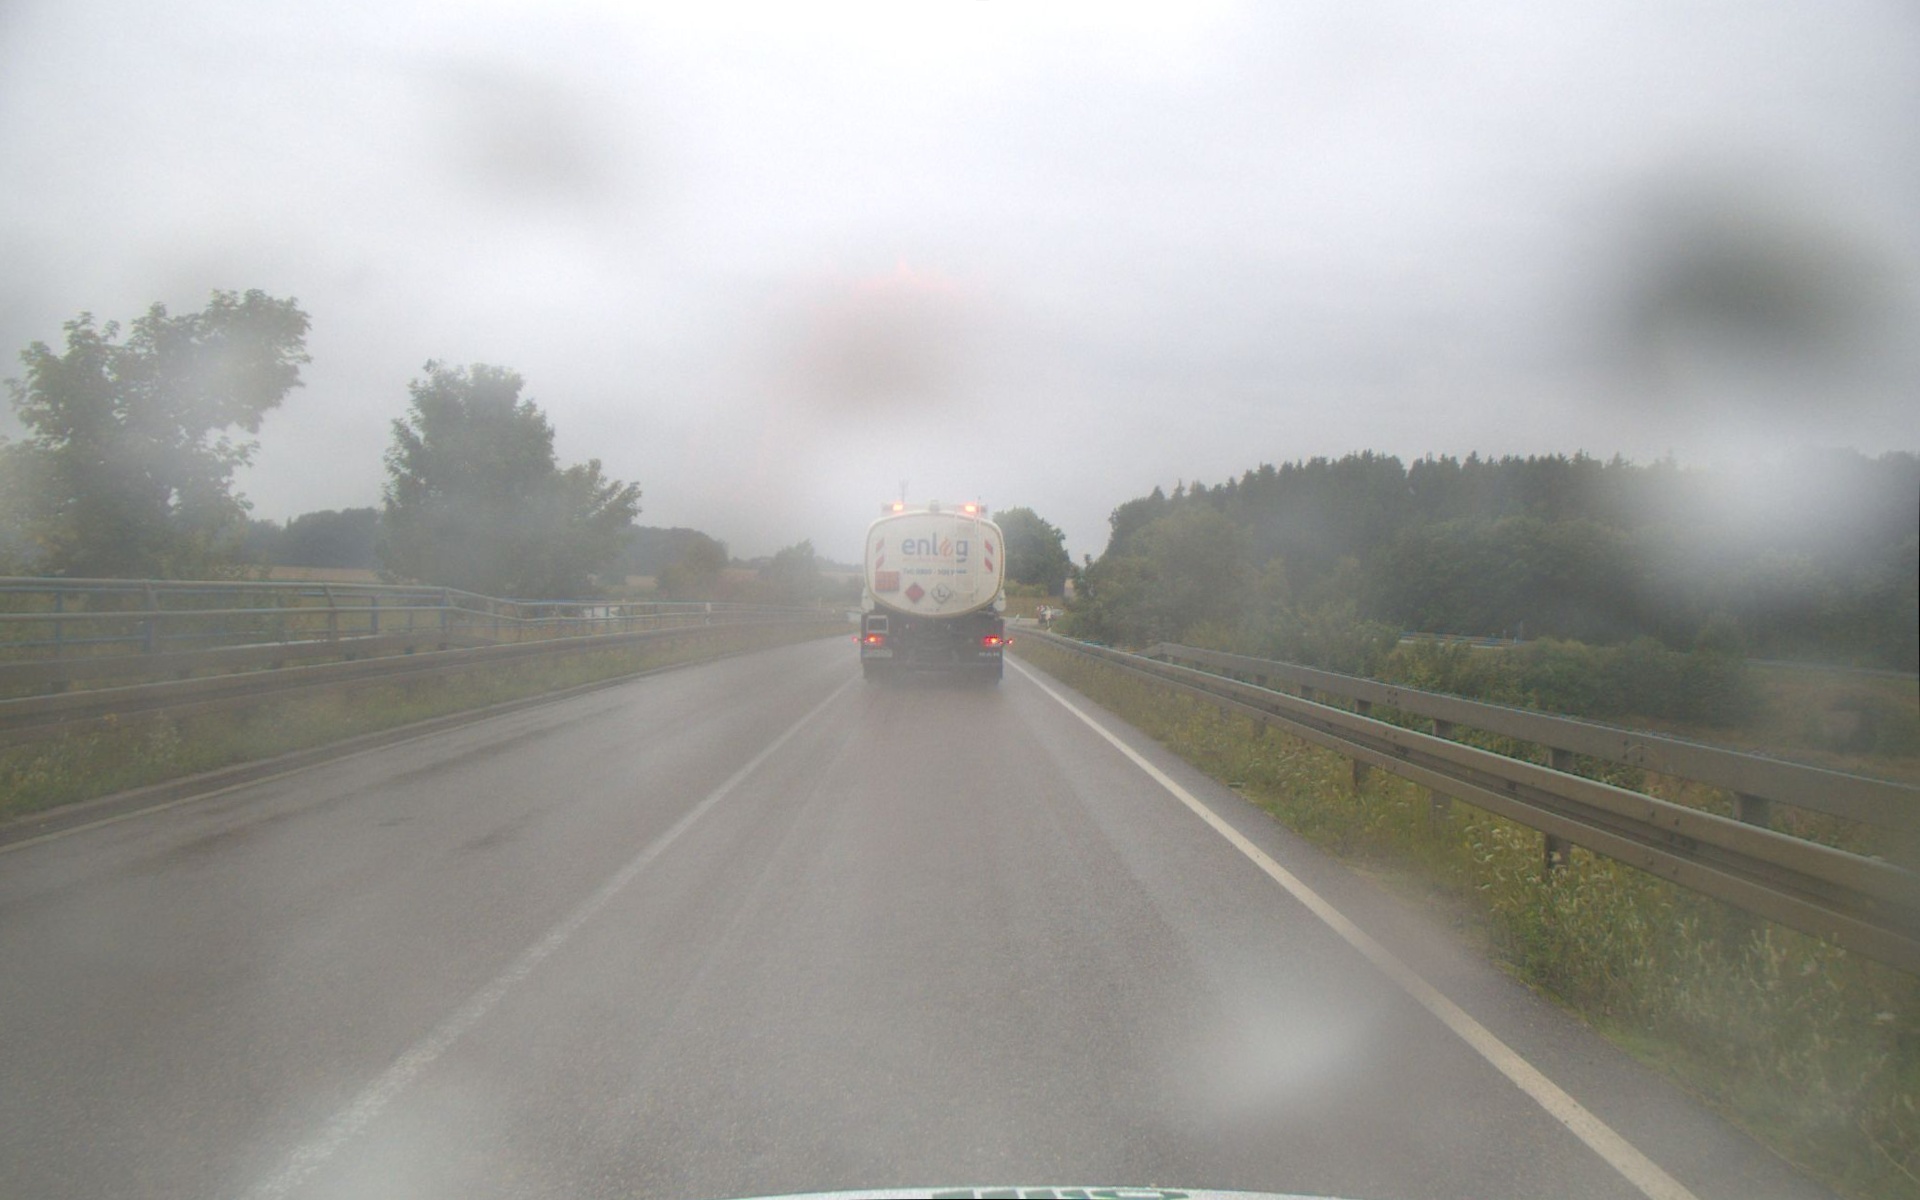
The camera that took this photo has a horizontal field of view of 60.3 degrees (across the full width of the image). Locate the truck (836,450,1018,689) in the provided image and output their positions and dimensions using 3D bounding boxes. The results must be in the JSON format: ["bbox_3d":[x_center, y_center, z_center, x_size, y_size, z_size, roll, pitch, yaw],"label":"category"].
[{"bbox_3d":[-0.544,-0.506,31.720,2.977,3.919,8.821,0,0,0],"label":"truck"}]
